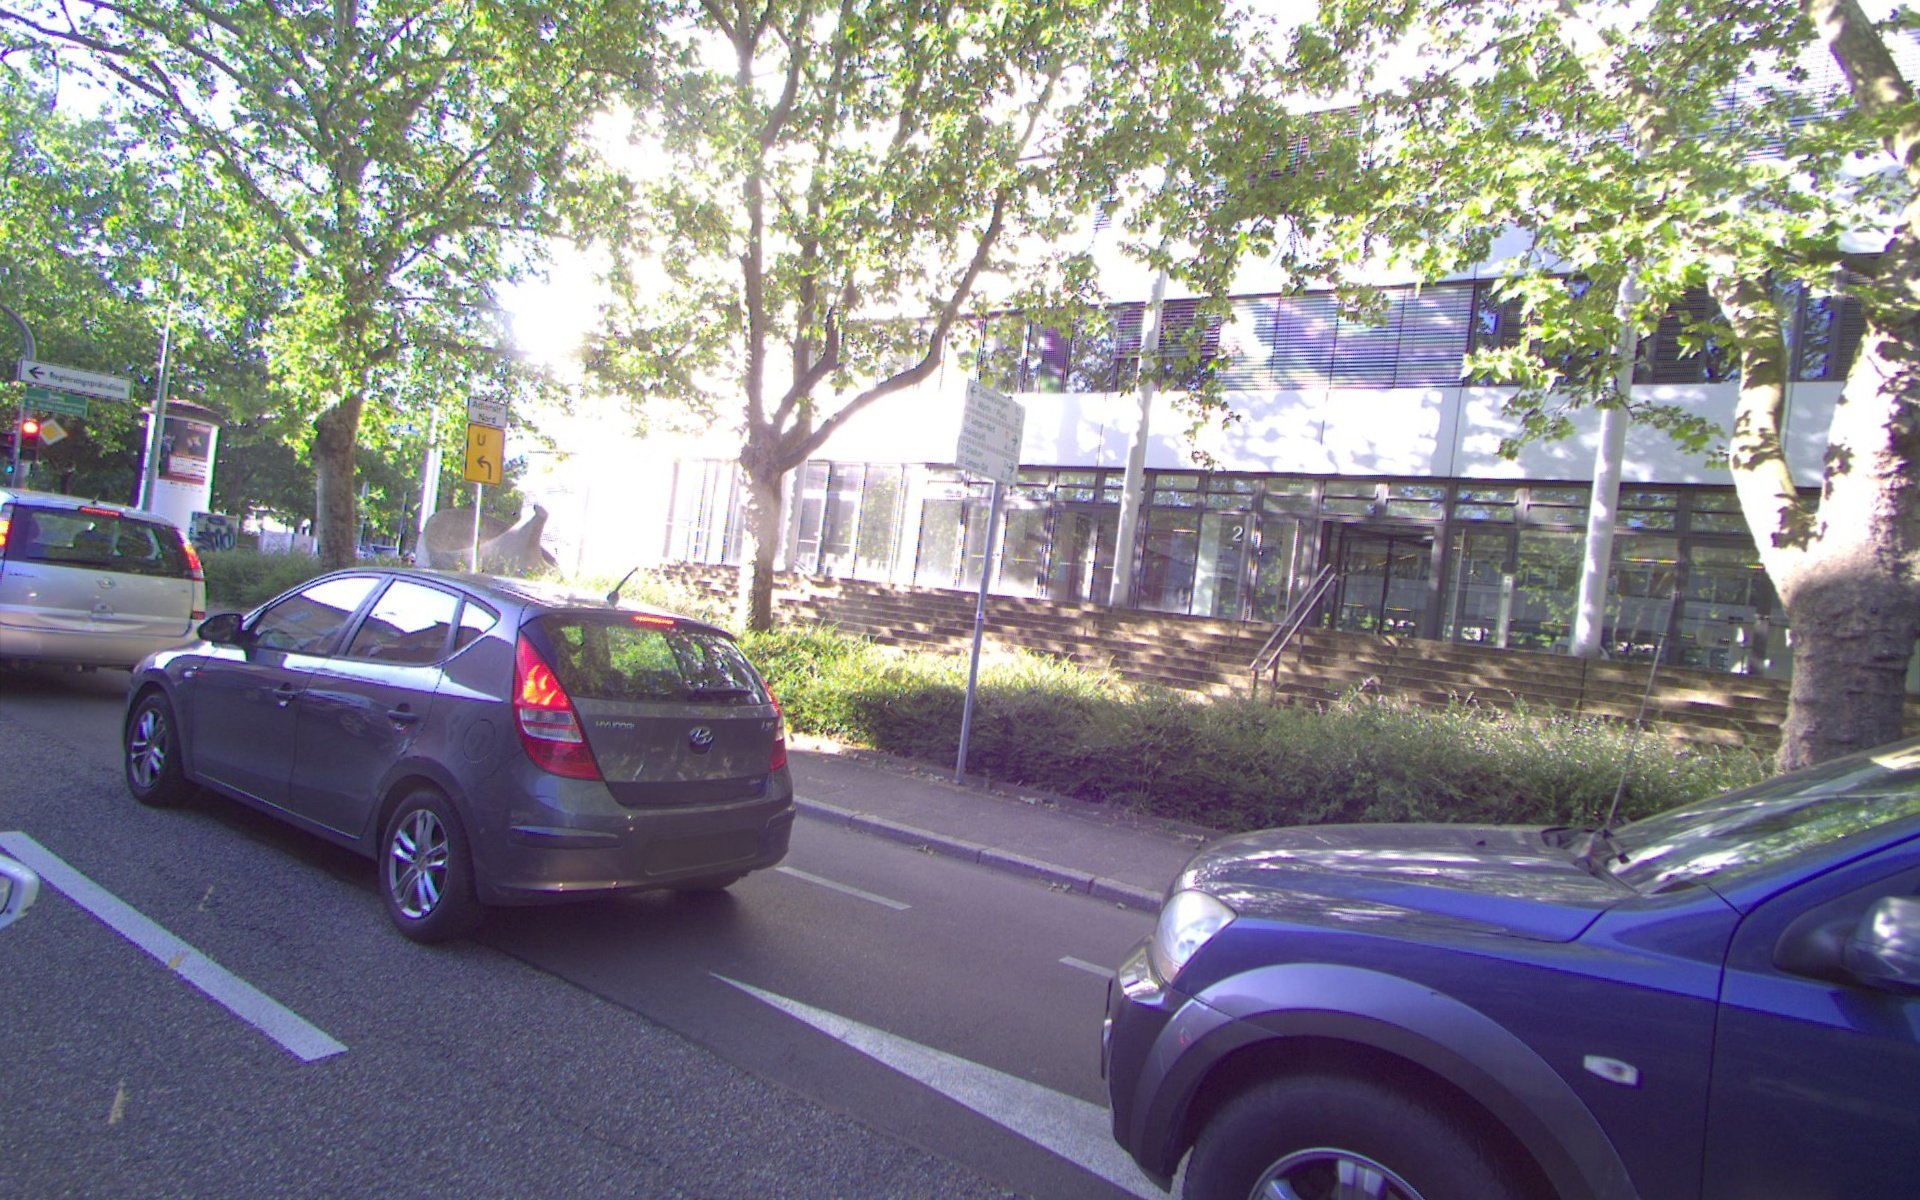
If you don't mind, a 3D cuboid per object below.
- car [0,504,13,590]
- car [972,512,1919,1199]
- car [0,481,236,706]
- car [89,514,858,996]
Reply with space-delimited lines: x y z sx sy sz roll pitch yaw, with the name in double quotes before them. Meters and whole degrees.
"car" -14.062 -0.746 12.639 4.592 1.481 1.917 7 -2 32
"car" 2.395 0.990 1.995 4.313 1.790 1.784 7 -3 33
"car" -8.413 -0.169 9.051 3.797 1.620 1.705 7 -3 34
"car" -2.670 0.550 5.277 3.910 1.498 1.648 7 -3 32
